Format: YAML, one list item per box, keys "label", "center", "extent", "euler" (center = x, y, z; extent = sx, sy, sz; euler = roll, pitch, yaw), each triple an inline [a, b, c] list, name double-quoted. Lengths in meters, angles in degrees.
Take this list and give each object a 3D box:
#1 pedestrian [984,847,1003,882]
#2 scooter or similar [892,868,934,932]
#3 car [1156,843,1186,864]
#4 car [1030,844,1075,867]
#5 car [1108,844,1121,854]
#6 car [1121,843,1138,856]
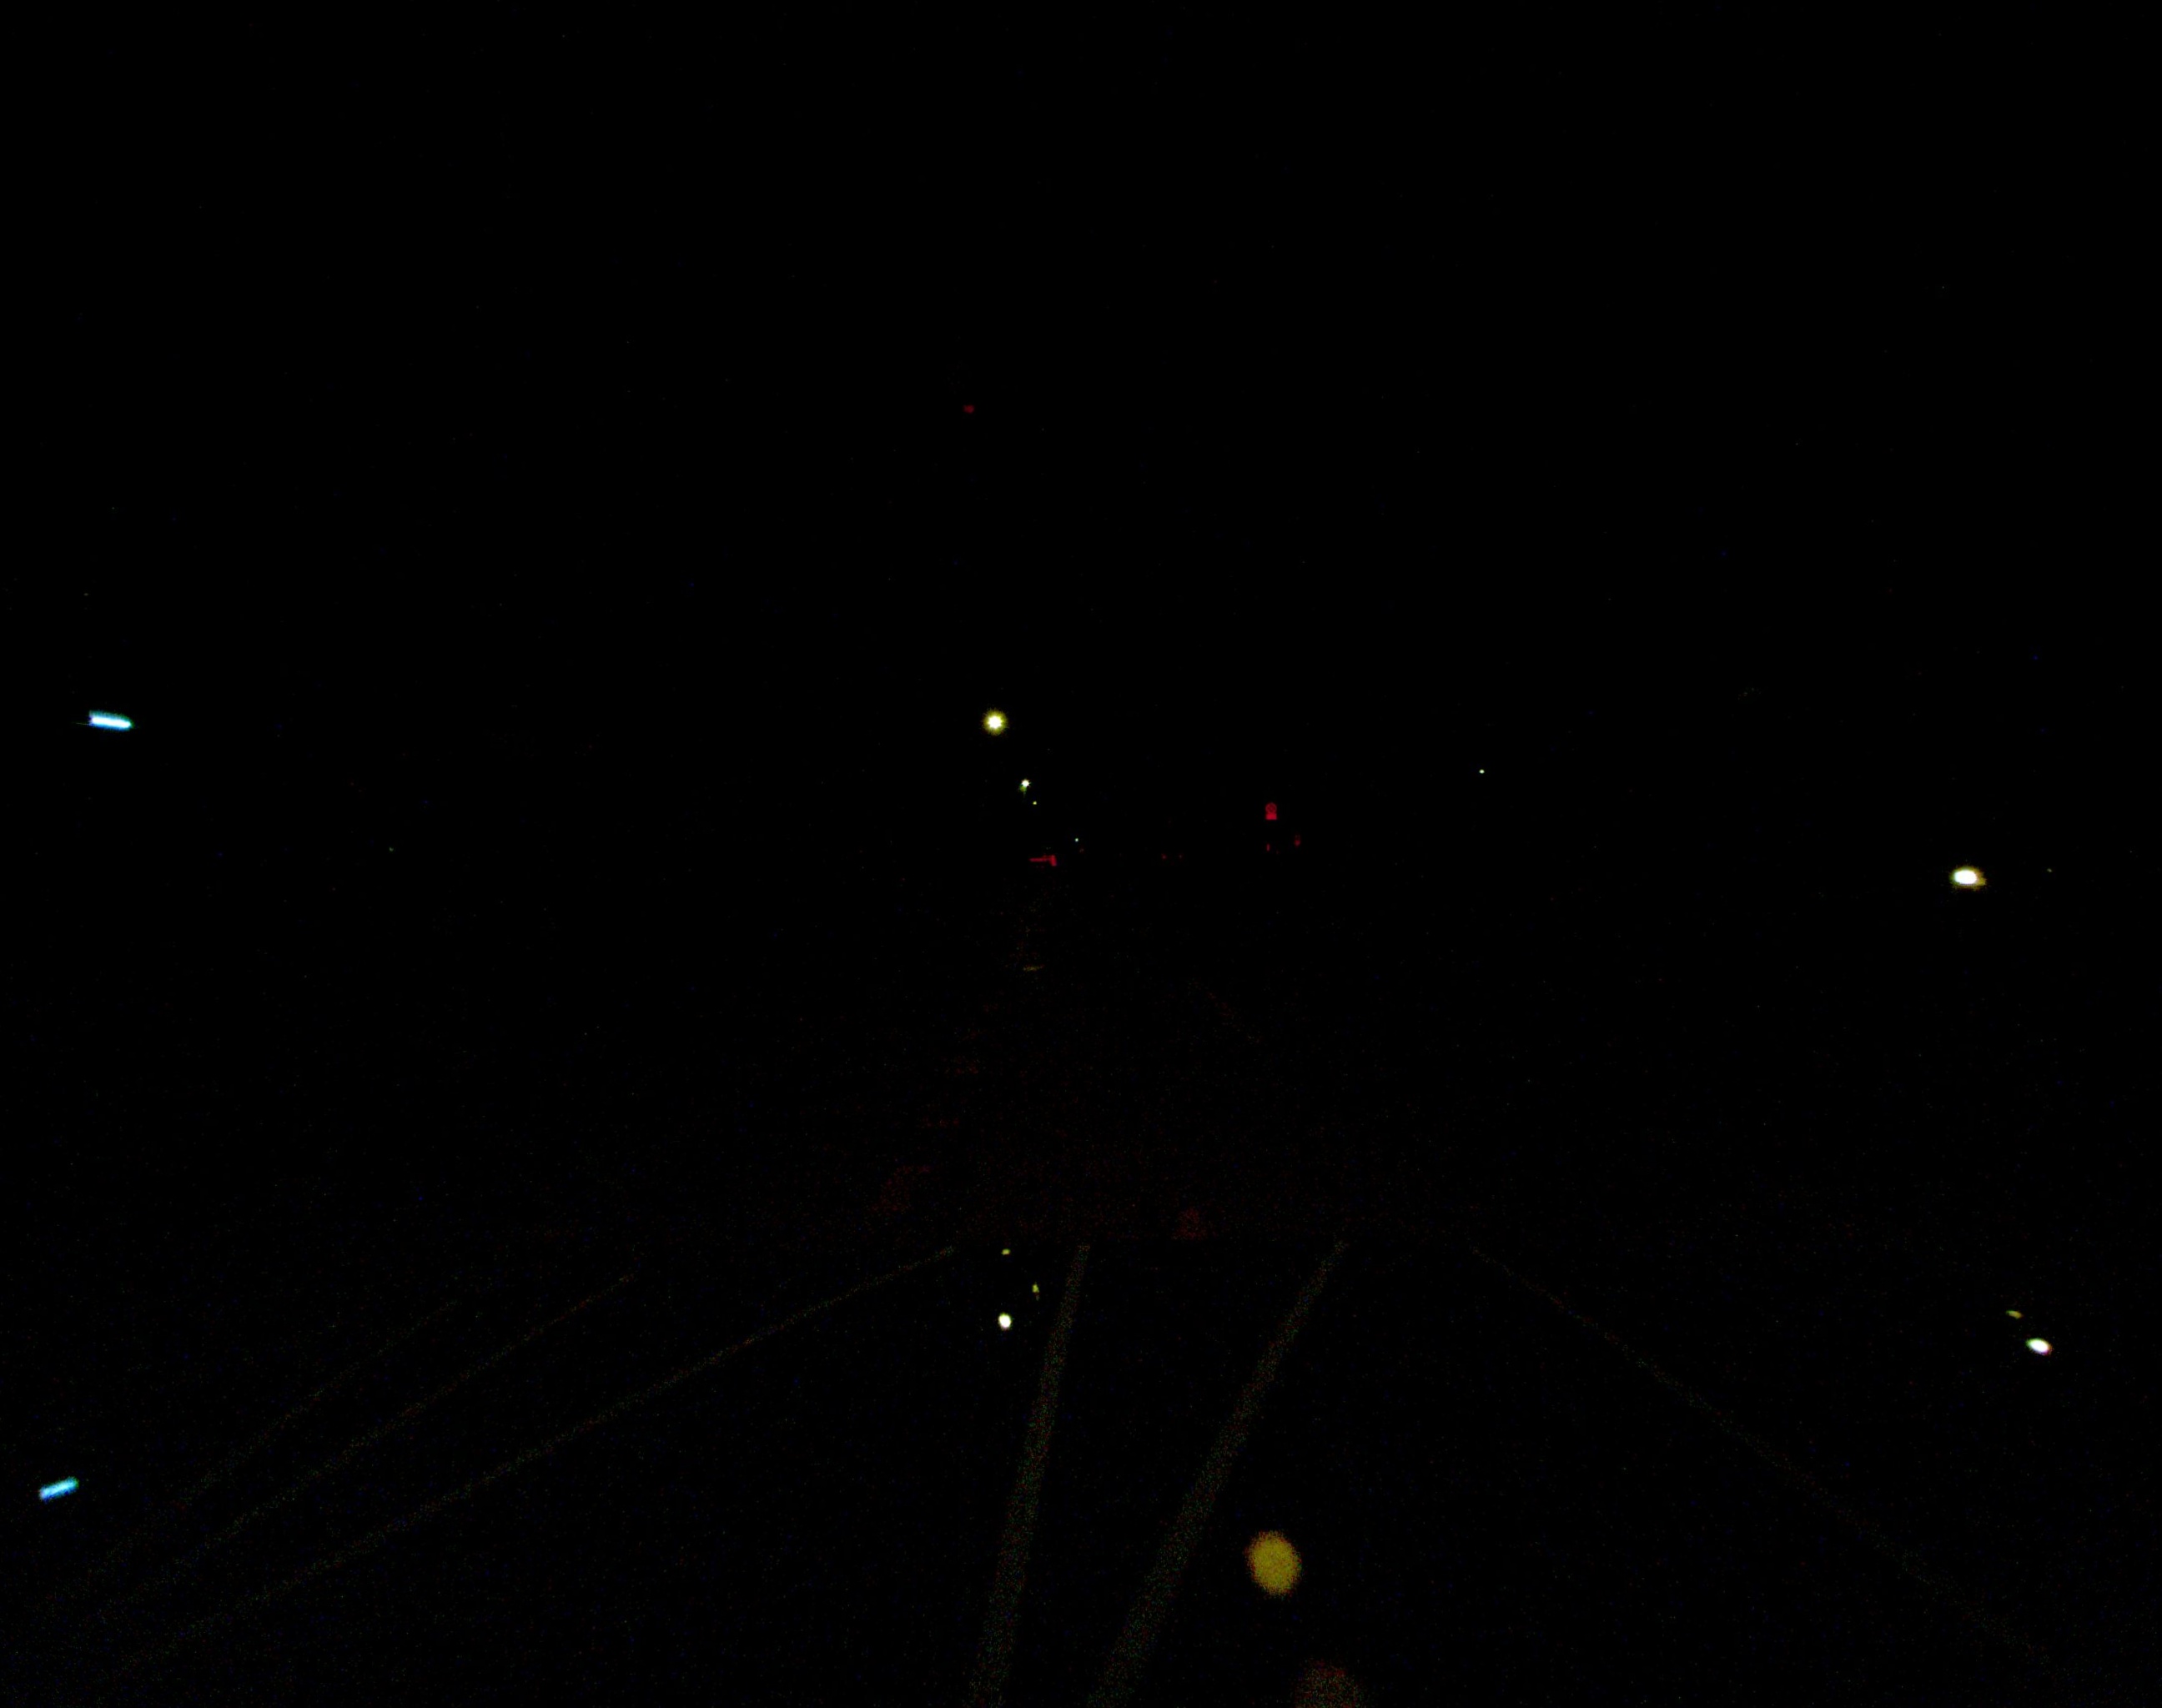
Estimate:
- label: "pedestrian"
  center: [-4.668, 0.566, 40.442]
  extent: [0.824, 1.809, 0.608]
  euler: [-3, 2, 1]
- label: "scooter or similar"
  center: [-3.583, 0.961, 16.315]
  extent: [0.570, 1.271, 1.391]
  euler: [0, 0, 0]
- label: "car"
  center: [7.206, -0.049, 60.989]
  extent: [1.911, 1.445, 3.999]
  euler: [-3, 2, 1]
- label: "car"
  center: [-2.610, 0.098, 70.816]
  extent: [3.997, 1.821, 1.912]
  euler: [-3, 2, 0]
- label: "car"
  center: [5.181, -0.815, 118.230]
  extent: [1.911, 1.445, 3.999]
  euler: [-3, 2, 1]
- label: "car"
  center: [6.369, -0.604, 100.465]
  extent: [1.911, 1.445, 3.999]
  euler: [-3, 2, 1]
